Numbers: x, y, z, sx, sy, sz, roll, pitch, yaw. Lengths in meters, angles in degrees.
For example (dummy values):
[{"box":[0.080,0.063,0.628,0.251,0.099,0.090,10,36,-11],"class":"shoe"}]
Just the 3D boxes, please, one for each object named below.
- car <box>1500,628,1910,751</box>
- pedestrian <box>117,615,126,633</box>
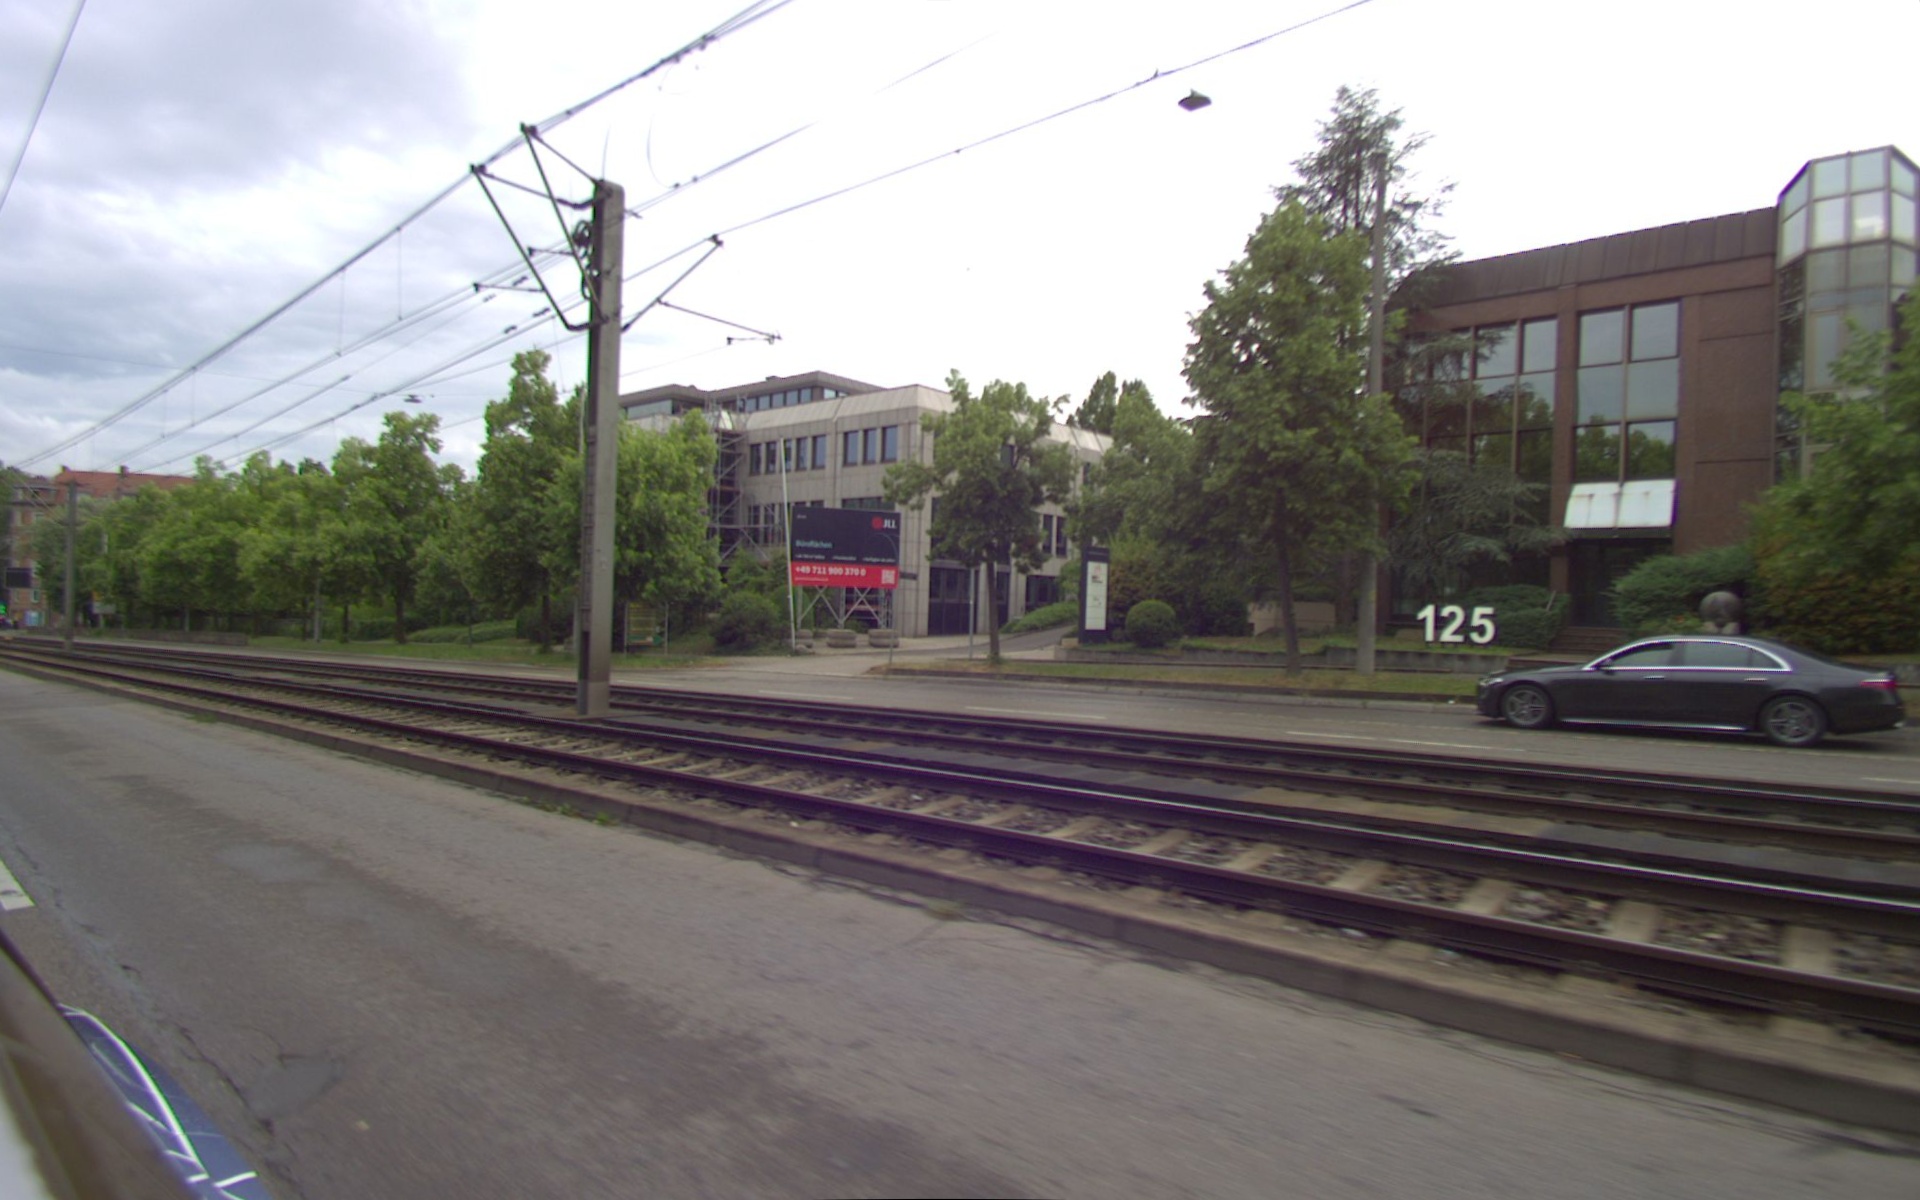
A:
[{"box":[10.710,1.179,14.893,4.618,1.542,1.776,-1,-2,40],"class":"car"},{"box":[-90.762,2.597,109.569,0.653,1.917,0.590,-1,-1,37],"class":"pedestrian"}]
